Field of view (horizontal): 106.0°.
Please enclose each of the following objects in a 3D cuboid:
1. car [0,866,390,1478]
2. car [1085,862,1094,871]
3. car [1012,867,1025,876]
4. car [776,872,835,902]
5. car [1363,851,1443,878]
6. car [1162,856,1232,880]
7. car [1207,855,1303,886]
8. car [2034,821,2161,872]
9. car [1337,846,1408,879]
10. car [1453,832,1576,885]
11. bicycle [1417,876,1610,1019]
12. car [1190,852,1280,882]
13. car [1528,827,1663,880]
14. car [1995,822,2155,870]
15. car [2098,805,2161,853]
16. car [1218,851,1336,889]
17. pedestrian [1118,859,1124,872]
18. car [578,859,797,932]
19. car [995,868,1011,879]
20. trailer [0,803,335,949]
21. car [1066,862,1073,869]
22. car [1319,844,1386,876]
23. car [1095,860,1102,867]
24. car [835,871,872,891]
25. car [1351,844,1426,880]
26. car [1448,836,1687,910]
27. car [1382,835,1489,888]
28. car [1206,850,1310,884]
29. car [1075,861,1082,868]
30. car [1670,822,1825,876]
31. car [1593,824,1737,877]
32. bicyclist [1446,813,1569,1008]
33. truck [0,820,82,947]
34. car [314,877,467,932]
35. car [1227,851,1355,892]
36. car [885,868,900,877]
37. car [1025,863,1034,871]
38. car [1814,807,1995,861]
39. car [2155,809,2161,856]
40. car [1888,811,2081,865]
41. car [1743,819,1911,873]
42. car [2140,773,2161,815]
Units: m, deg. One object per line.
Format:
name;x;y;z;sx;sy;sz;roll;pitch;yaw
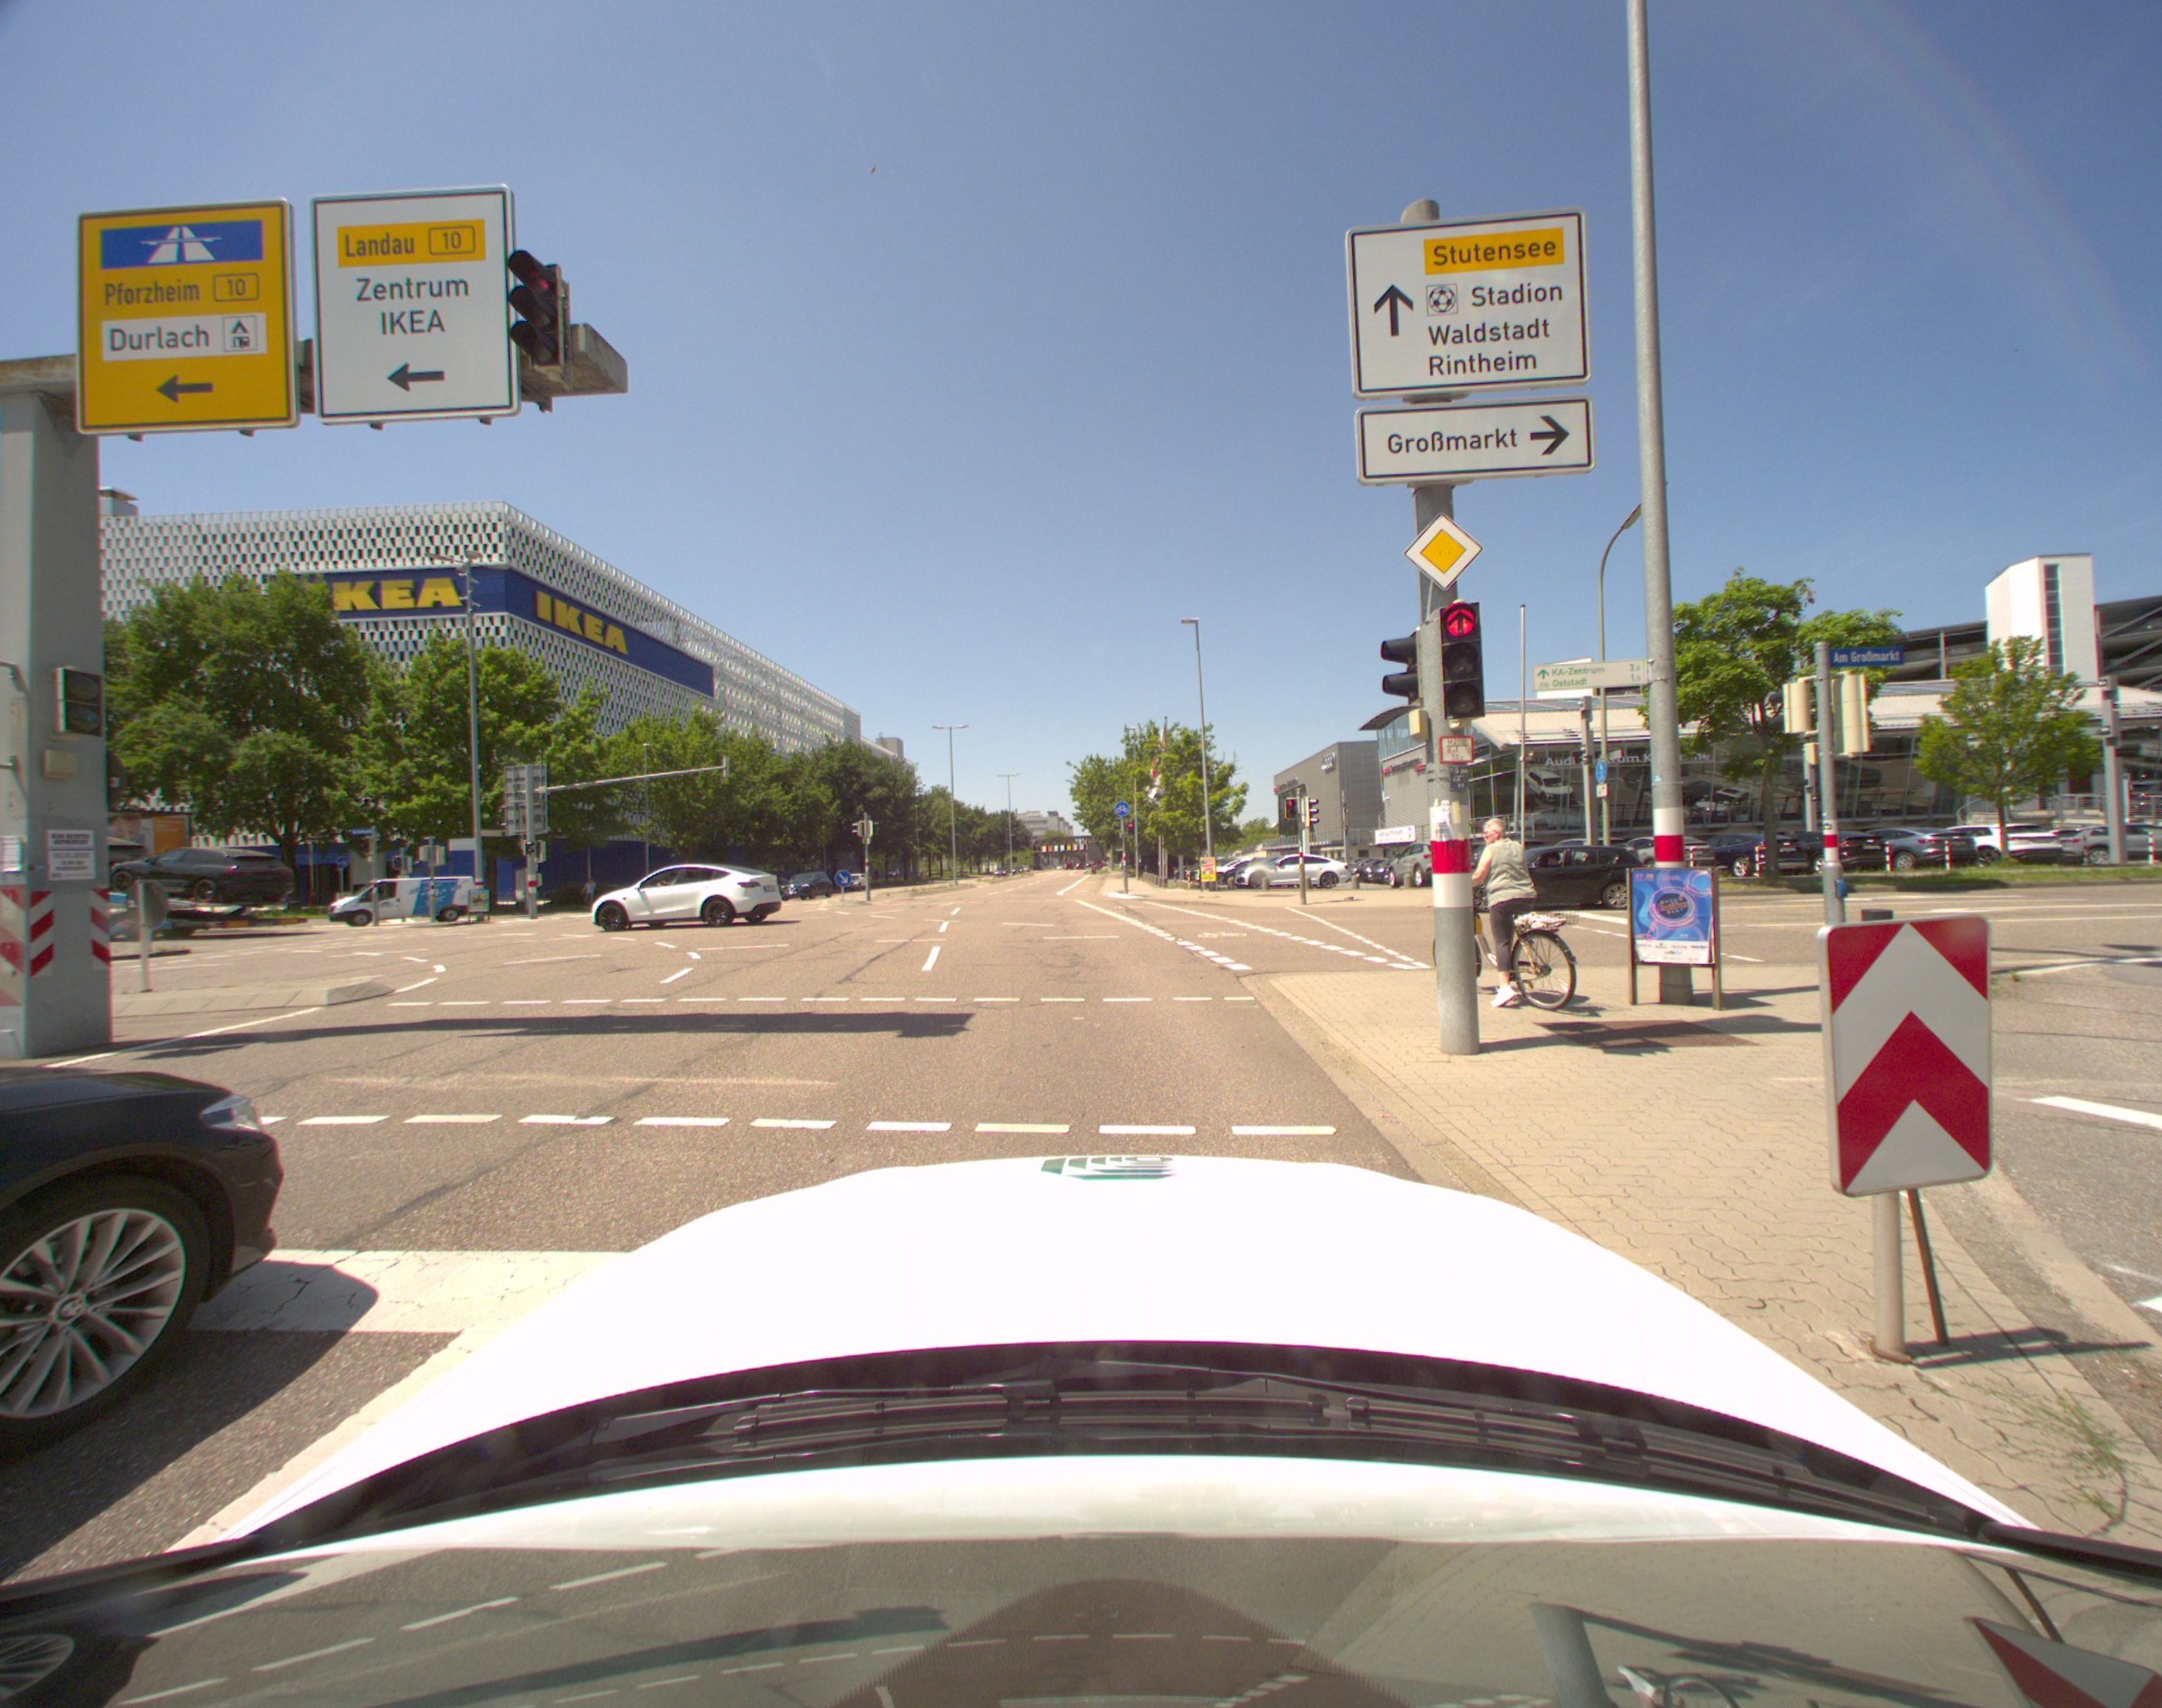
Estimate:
car;-3.544;0.788;0.746;1.793;1.466;4.624;-1;0;1
car;1.094;1.638;105.581;1.133;1.042;2.309;-2;0;2
car;-10.703;2.982;139.464;1.678;1.411;3.666;-3;-1;2
car;-16.499;1.932;49.053;1.868;1.598;4.498;-3;-1;2
car;19.291;0.640;48.909;4.076;1.460;1.720;-2;0;2
car;8.358;1.006;58.757;4.726;1.457;2.000;-3;0;0
car;9.278;0.876;43.646;4.726;1.457;2.000;-2;0;0
car;39.141;-0.283;30.747;3.665;1.777;1.759;-3;-1;28
car;19.334;0.556;54.070;3.971;2.014;2.001;-2;-1;2
car;15.089;0.149;28.684;1.986;1.639;4.559;-2;0;2
bicycle;4.053;0.814;7.843;0.784;1.127;1.919;-1;0;-2
car;8.748;0.724;46.494;4.726;1.457;2.000;-2;0;0
car;17.932;-0.023;28.669;1.986;1.639;4.443;-3;0;2
car;40.402;-0.297;33.250;3.720;1.772;1.781;-3;-1;32
car;47.021;-1.126;35.027;3.728;2.014;1.866;-2;-1;11
car;8.523;0.706;35.775;4.721;1.457;2.002;-2;-2;3
pedestrian;4.573;1.289;93.341;0.665;1.510;0.736;-2;-1;1
car;-10.073;1.044;21.043;4.654;1.588;2.004;-3;-1;7
car;-11.028;2.733;115.927;1.725;1.427;3.707;-4;-1;2
trailer;-30.051;0.757;26.252;9.565;4.081;3.099;-3;-1;5
car;-3.252;3.264;225.655;1.765;1.728;4.001;-3;-1;2
car;18.729;0.405;56.339;3.971;2.014;2.001;-2;-1;2
car;4.762;2.636;220.865;1.765;1.728;4.001;-3;-1;2
car;-20.793;2.469;74.621;1.918;1.665;4.094;-3;-1;4
car;19.311;0.502;51.253;3.971;2.014;2.001;-2;-1;2
car;10.609;0.429;18.050;4.194;1.411;1.677;-2;-1;12
car;12.412;0.241;28.827;1.986;1.639;4.270;-2;0;2
car;8.583;0.608;39.863;4.721;1.457;2.002;-2;0;3
car;-0.666;2.850;220.499;1.765;1.728;4.001;-3;-1;2
car;23.108;-0.164;28.512;1.821;1.639;4.476;-3;0;2
car;20.335;-0.112;28.658;1.878;1.639;4.526;-3;0;2
bicyclist;4.023;0.509;7.731;0.732;1.749;0.753;-1;0;-3
truck;-40.089;1.203;27.136;10.566;4.083;3.105;-3;-1;5
car;-29.801;2.137;35.281;1.974;2.008;4.794;-4;-1;41
car;8.482;0.705;33.190;4.721;1.457;2.002;-2;0;3
car;-39.602;3.934;171.089;1.984;1.810;4.034;0;0;5
car;-11.264;2.905;177.840;1.645;1.653;4.160;-2;-1;-2
car;28.541;-0.653;28.468;1.821;1.639;4.476;-3;0;2
car;39.562;-0.822;26.841;4.705;1.639;1.844;-3;0;24
car;31.191;-0.525;28.357;1.821;1.639;4.476;-3;0;2
car;25.856;-0.265;28.479;1.821;1.639;4.476;-2;0;2
car;55.041;-3.075;39.522;1.989;2.013;3.995;-2;-1;-3
